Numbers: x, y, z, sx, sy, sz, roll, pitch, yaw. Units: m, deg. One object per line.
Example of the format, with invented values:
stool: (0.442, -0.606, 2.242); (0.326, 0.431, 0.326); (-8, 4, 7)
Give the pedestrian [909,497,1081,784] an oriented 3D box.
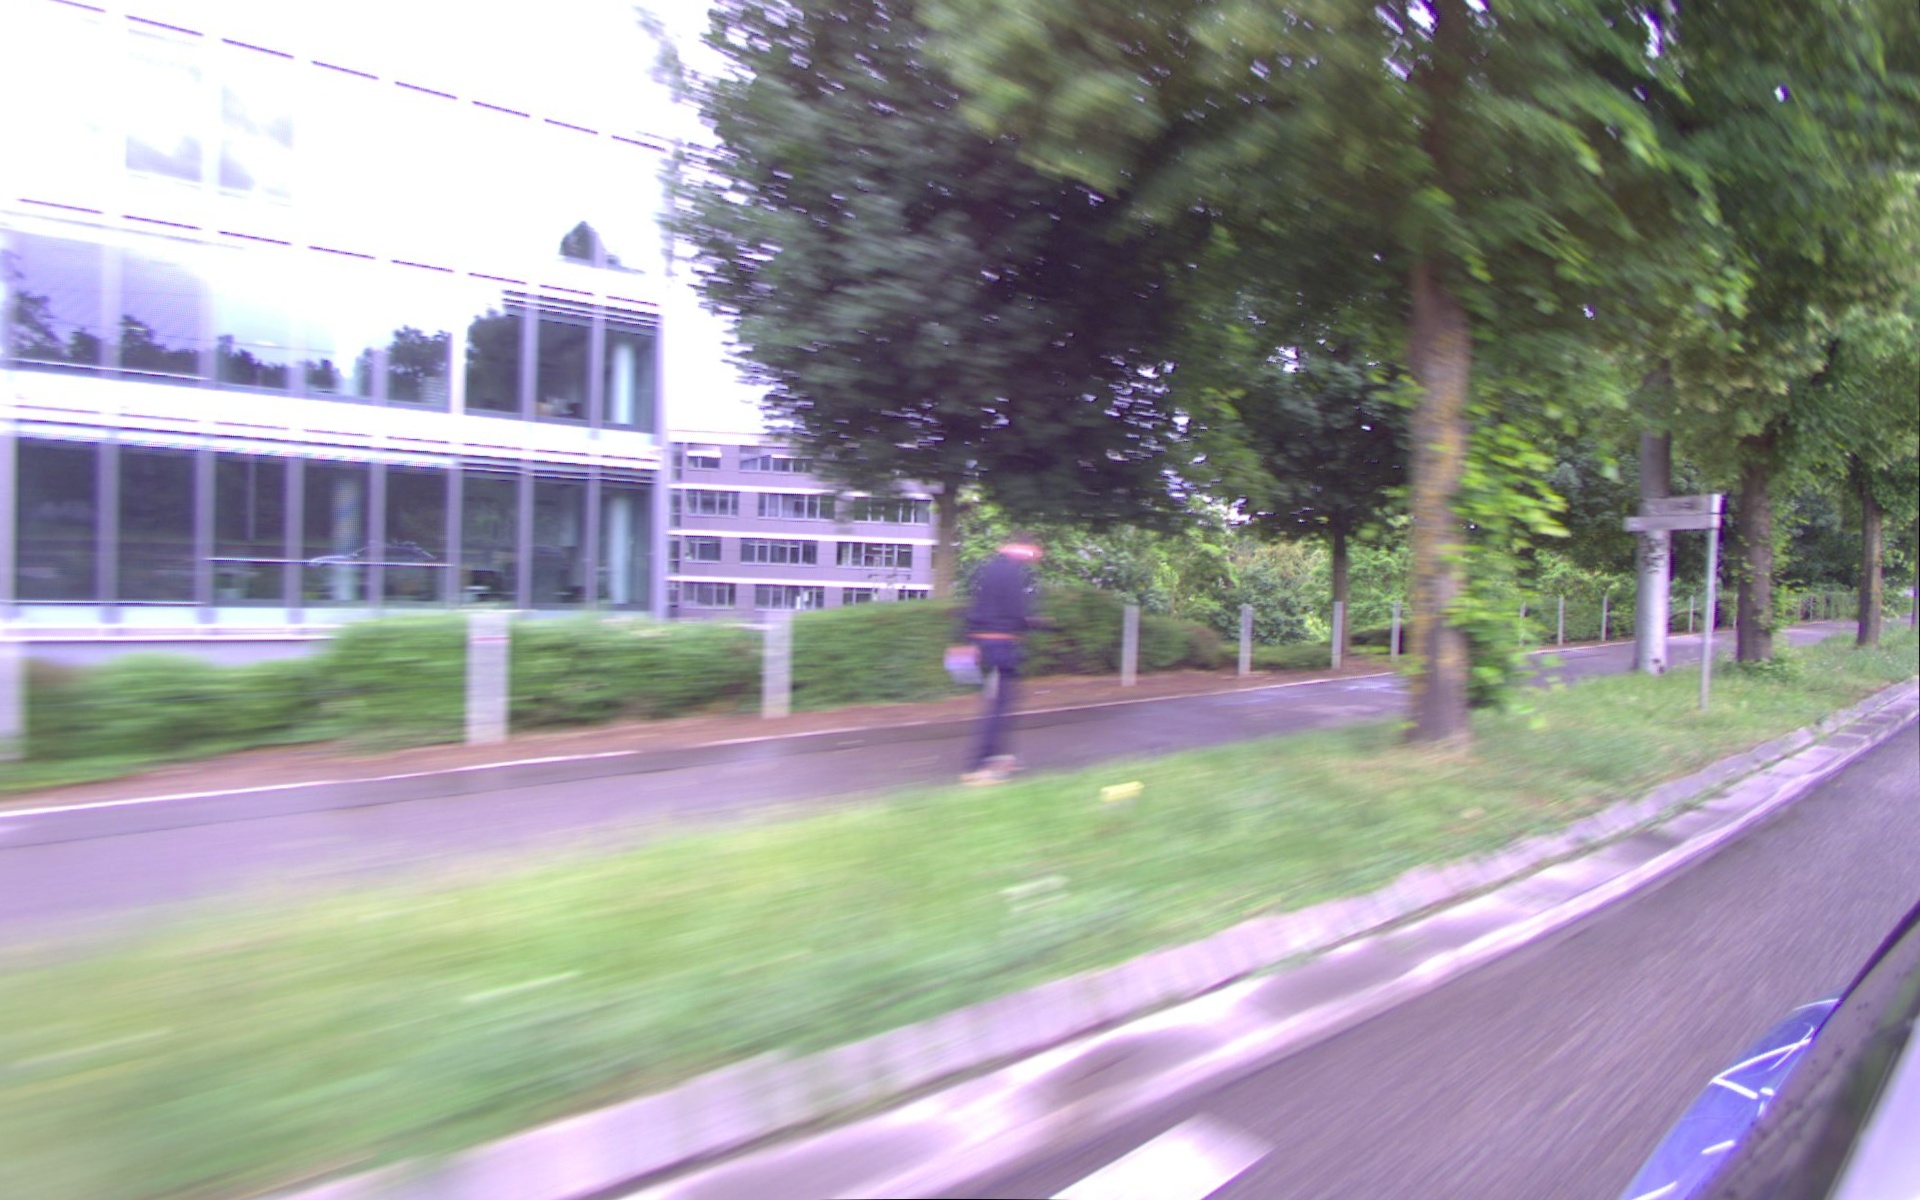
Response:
pedestrian: (0.237, 0.242, 7.000); (0.852, 1.819, 0.827); (0, 1, -40)
